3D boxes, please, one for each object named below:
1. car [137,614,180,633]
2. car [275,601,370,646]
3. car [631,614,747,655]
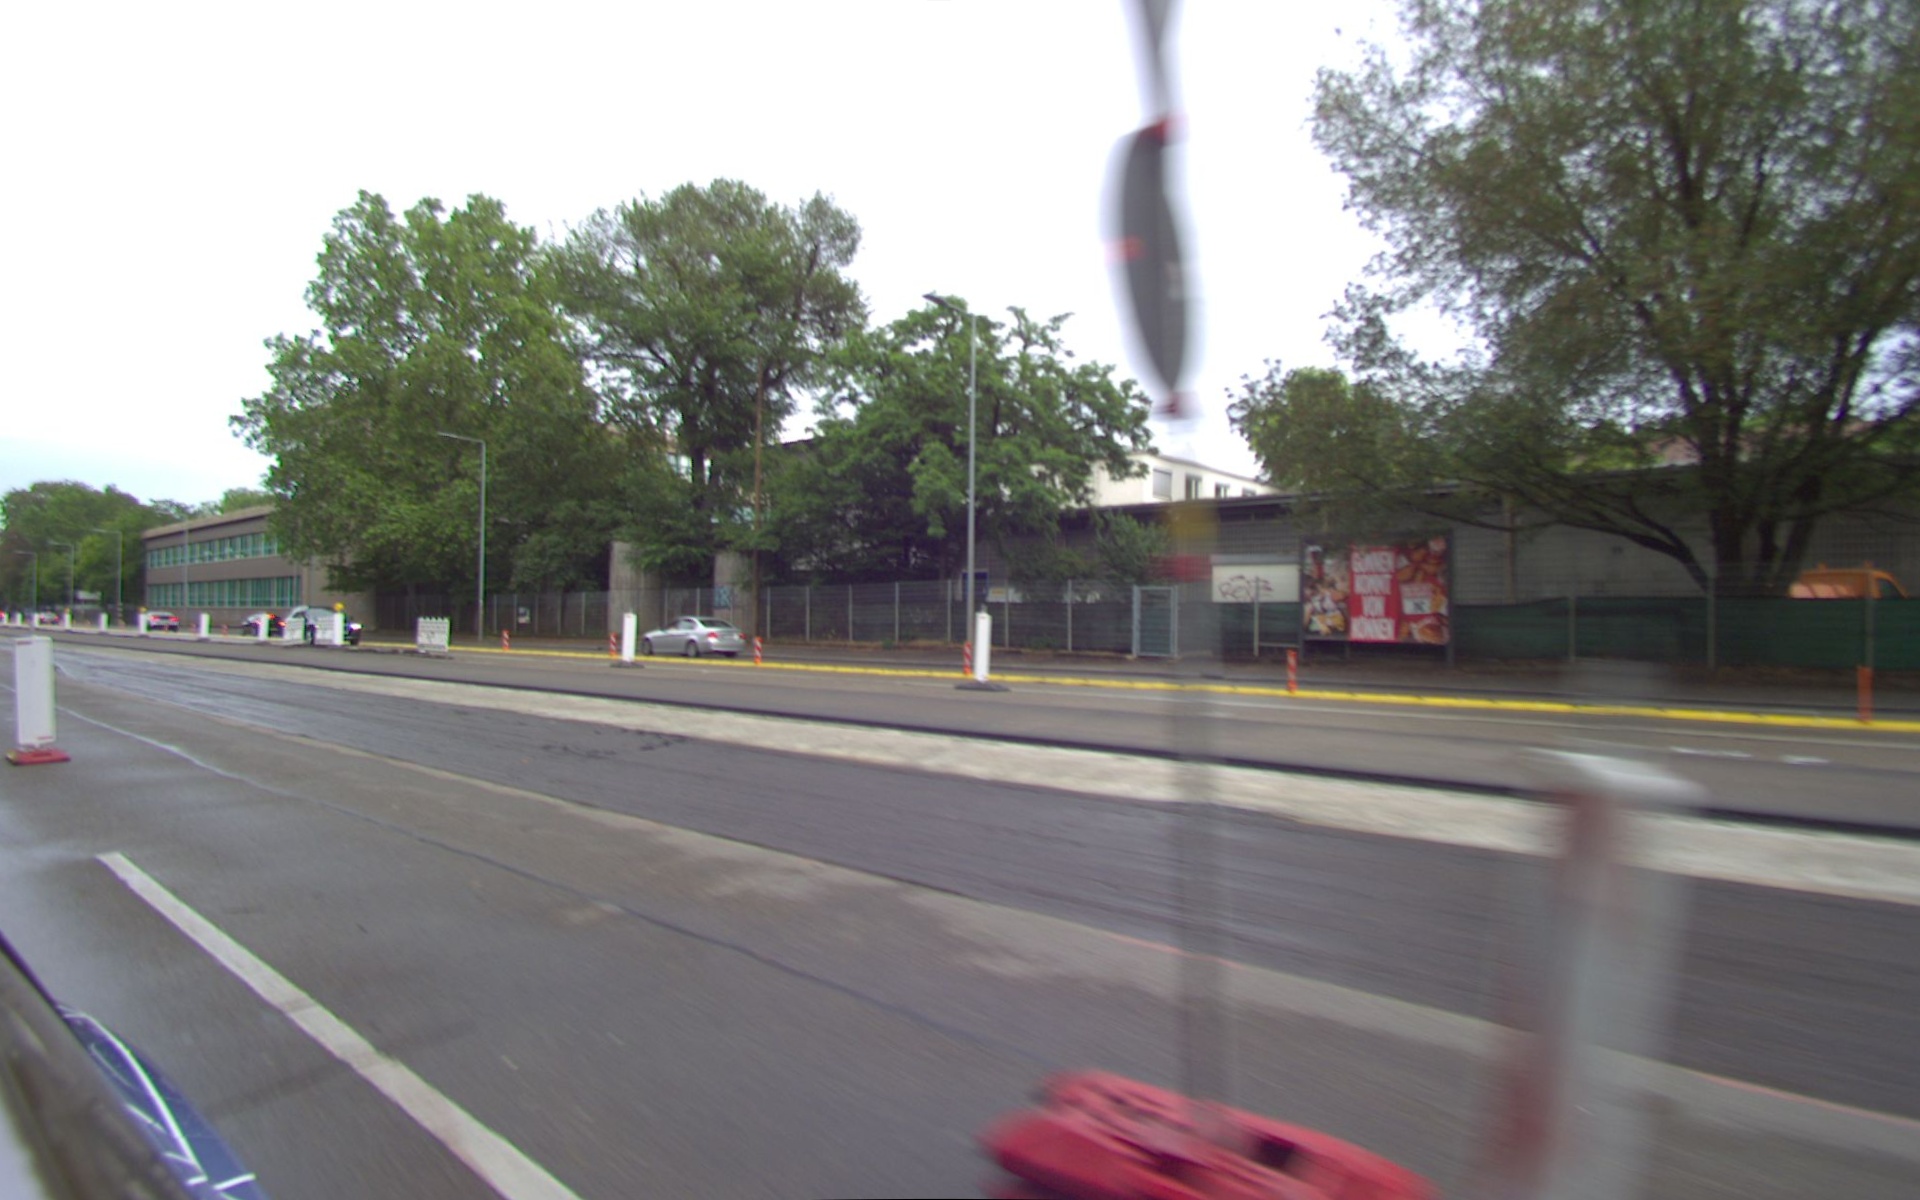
[{"bbox_3d":[-60.179,1.748,75.951,4.146,1.445,1.817,-1,-1,41],"label":"car"},{"bbox_3d":[-27.397,1.057,43.427,4.980,1.719,1.973,-2,-6,40],"label":"car"},{"bbox_3d":[-9.367,1.183,34.839,4.453,1.325,1.649,-1,-4,42],"label":"car"}]
